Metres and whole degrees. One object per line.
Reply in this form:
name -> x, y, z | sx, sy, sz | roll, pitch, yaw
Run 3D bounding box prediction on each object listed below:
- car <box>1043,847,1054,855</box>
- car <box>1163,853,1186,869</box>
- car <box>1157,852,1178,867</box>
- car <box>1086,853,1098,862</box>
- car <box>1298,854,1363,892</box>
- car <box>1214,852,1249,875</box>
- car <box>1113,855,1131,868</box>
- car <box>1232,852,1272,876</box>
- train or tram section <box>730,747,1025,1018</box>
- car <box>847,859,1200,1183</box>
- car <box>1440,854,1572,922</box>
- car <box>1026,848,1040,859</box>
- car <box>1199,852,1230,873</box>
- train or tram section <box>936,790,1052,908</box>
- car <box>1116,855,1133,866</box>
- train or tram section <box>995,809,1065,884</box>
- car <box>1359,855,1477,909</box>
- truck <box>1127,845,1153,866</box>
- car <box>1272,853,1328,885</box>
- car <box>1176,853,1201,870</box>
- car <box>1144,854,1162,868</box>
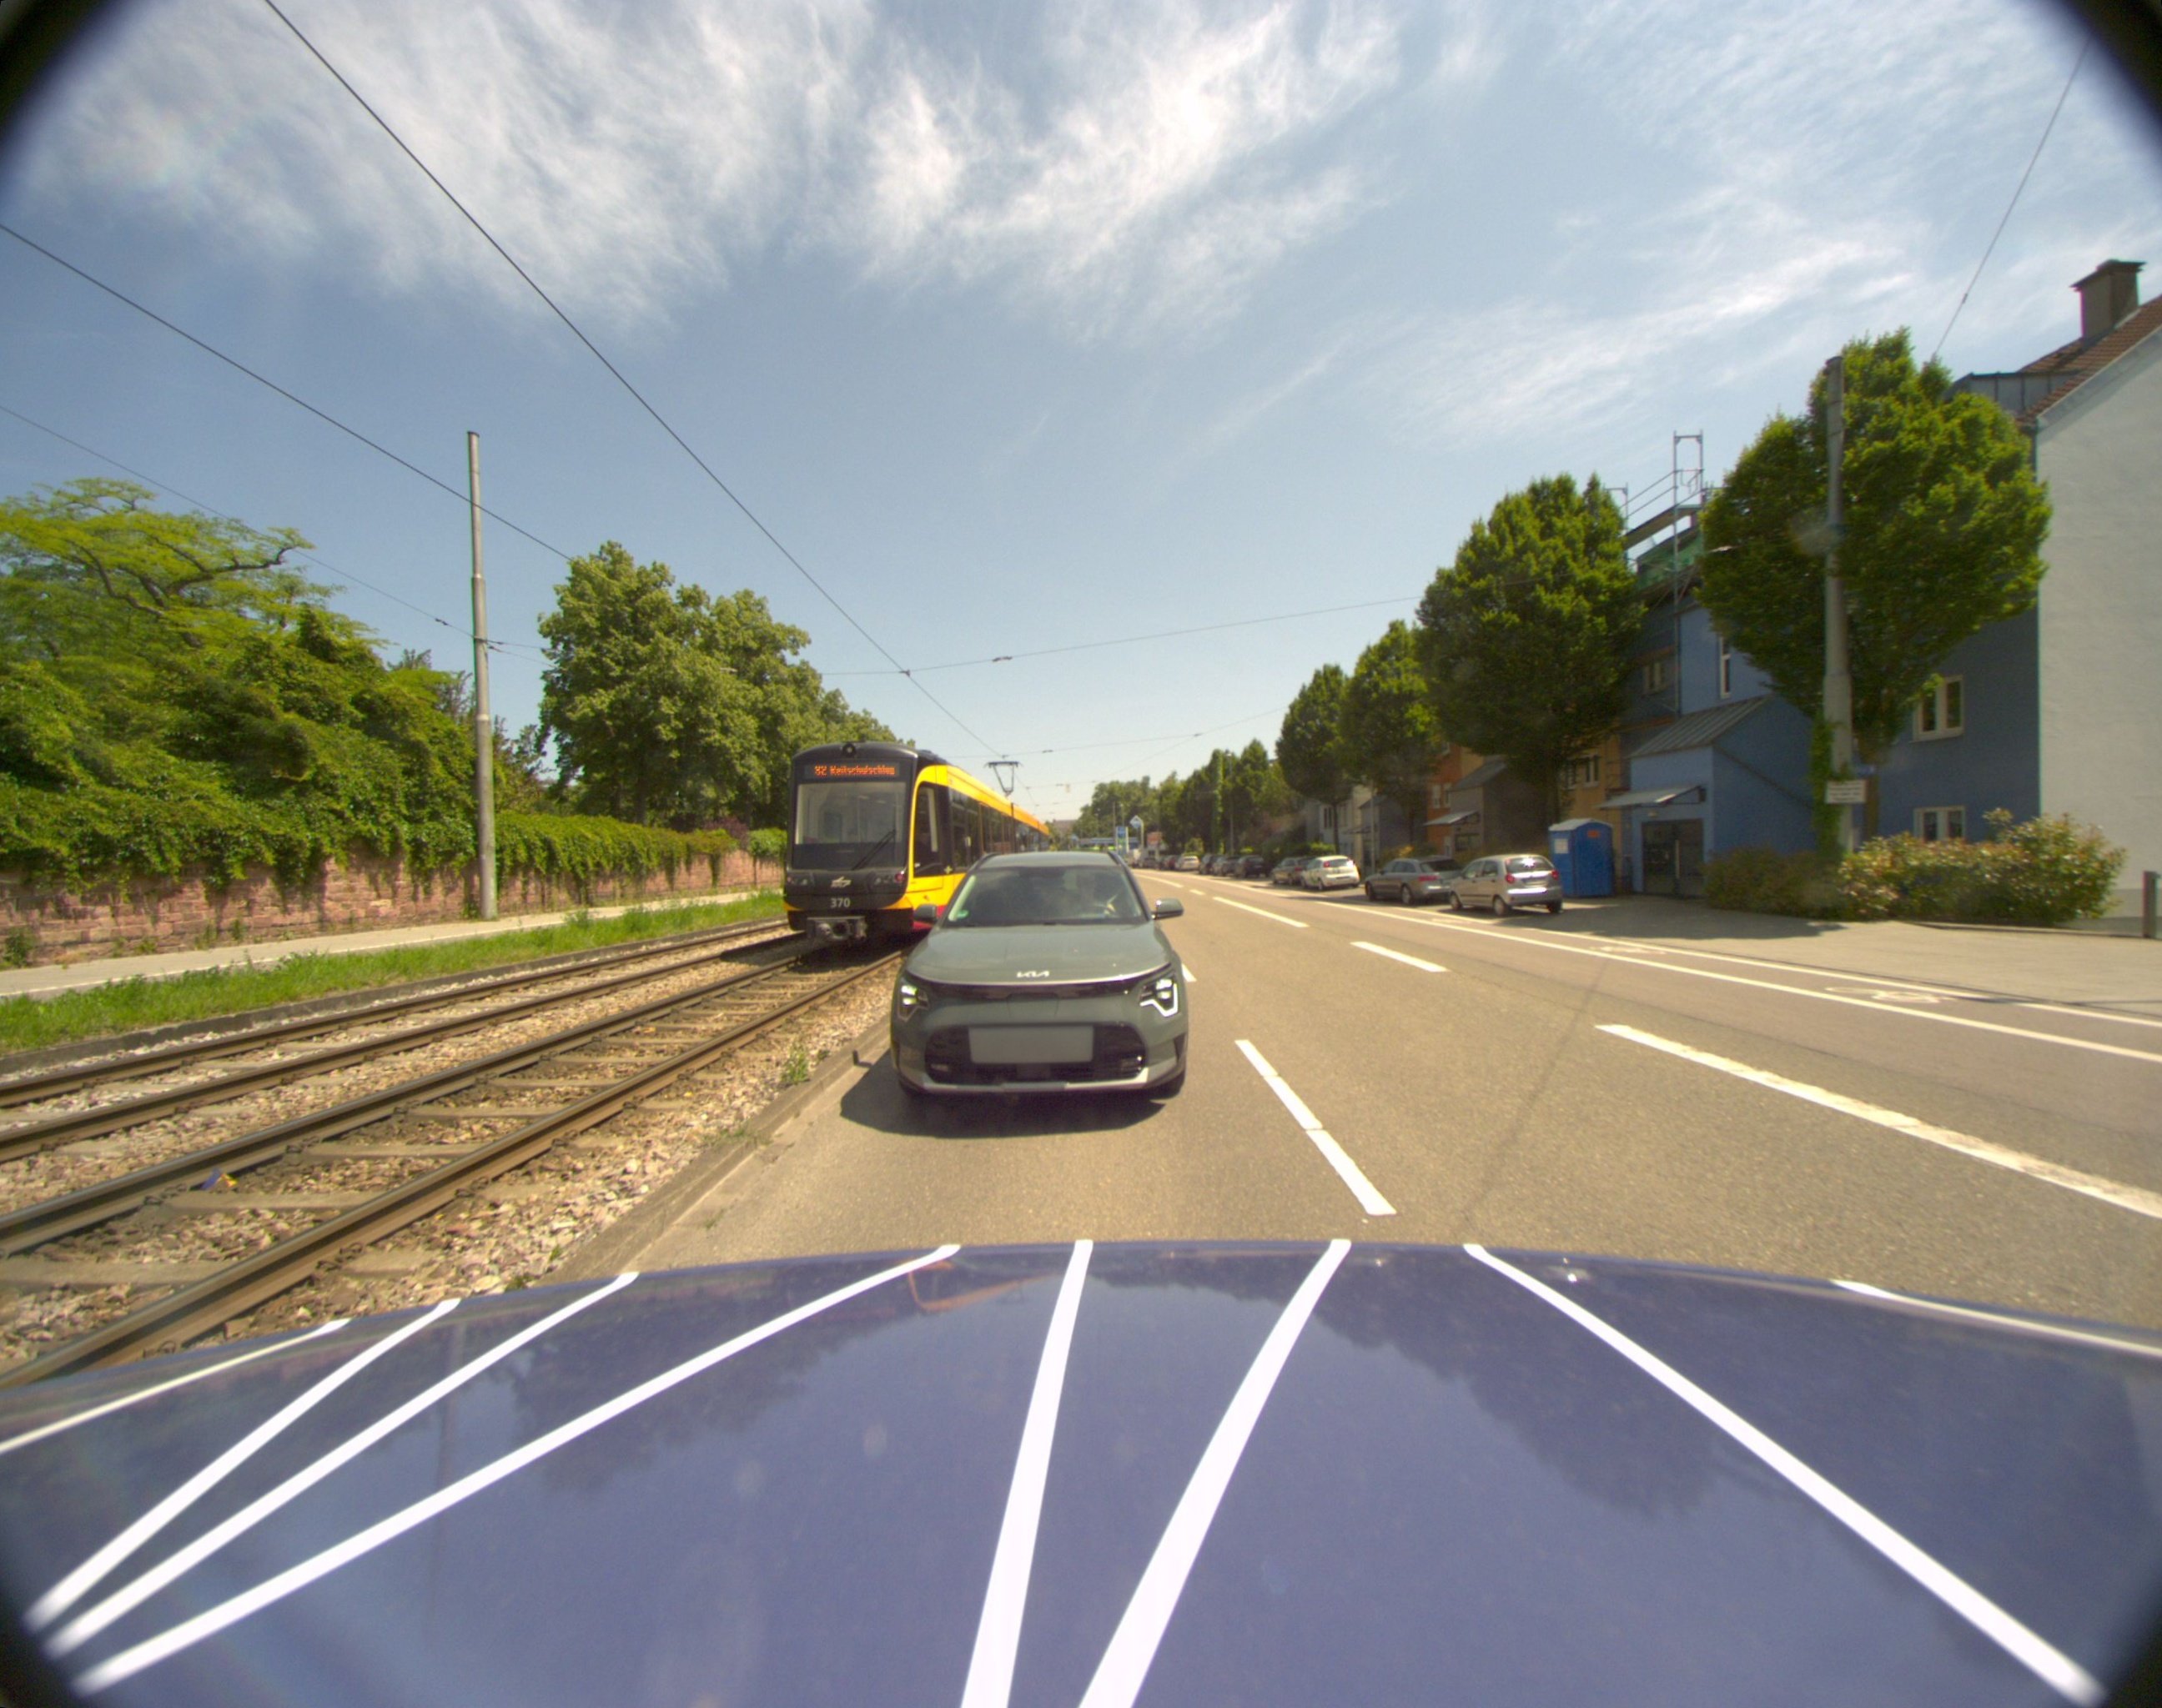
car -> -5.708, -0.554, 134.708 | 1.865, 1.487, 3.470 | -1, 0, -1
car -> 9.790, 0.700, 79.870 | 1.865, 1.487, 3.470 | -5, 0, 0
car -> 9.634, 0.635, 84.666 | 1.865, 1.487, 3.470 | -5, 0, 0
car -> 1.813, 0.642, 128.821 | 1.865, 1.487, 3.470 | -1, 0, -1
car -> 11.397, 0.825, 34.883 | 1.656, 1.487, 3.649 | -5, 0, 0
car -> 11.152, 0.696, 56.413 | 1.656, 1.487, 4.082 | -5, 0, 0
car -> 5.165, 0.909, 96.264 | 1.865, 1.487, 3.470 | -5, 0, 0
car -> 11.597, 0.655, 51.693 | 1.656, 1.487, 4.082 | -5, 0, 0
train or tram section -> -3.432, 0.333, 17.990 | 2.813, 3.785, 14.260 | -2, 1, 1
car -> -0.264, 0.876, 6.125 | 1.759, 1.574, 4.427 | -2, 0, 1
car -> 10.961, 0.821, 19.849 | 1.505, 1.487, 3.282 | -5, 0, 0
car -> -7.091, -0.053, 112.002 | 1.865, 1.487, 3.470 | -1, 0, -1
car -> 10.984, 0.675, 62.669 | 1.656, 1.578, 4.082 | -5, 0, 0
train or tram section -> -3.140, -0.253, 32.251 | 2.783, 3.789, 14.261 | -2, 1, 1
car -> 6.362, 0.948, 111.519 | 1.866, 1.487, 3.468 | -5, 0, -8
train or tram section -> -2.809, -0.460, 46.525 | 2.783, 3.786, 14.261 | -2, 1, 1
car -> 10.910, 0.843, 25.001 | 1.680, 1.487, 4.638 | -5, 0, 0
truck -> 7.699, 0.247, 99.876 | 2.135, 2.565, 4.861 | -5, 0, -8
car -> 11.482, 0.742, 40.156 | 1.656, 1.487, 4.082 | -5, 0, 0
car -> 10.417, 0.671, 74.125 | 1.723, 1.487, 4.082 | -5, 0, 0
car -> 8.859, 0.856, 93.784 | 1.865, 1.487, 3.470 | -5, 0, 0
